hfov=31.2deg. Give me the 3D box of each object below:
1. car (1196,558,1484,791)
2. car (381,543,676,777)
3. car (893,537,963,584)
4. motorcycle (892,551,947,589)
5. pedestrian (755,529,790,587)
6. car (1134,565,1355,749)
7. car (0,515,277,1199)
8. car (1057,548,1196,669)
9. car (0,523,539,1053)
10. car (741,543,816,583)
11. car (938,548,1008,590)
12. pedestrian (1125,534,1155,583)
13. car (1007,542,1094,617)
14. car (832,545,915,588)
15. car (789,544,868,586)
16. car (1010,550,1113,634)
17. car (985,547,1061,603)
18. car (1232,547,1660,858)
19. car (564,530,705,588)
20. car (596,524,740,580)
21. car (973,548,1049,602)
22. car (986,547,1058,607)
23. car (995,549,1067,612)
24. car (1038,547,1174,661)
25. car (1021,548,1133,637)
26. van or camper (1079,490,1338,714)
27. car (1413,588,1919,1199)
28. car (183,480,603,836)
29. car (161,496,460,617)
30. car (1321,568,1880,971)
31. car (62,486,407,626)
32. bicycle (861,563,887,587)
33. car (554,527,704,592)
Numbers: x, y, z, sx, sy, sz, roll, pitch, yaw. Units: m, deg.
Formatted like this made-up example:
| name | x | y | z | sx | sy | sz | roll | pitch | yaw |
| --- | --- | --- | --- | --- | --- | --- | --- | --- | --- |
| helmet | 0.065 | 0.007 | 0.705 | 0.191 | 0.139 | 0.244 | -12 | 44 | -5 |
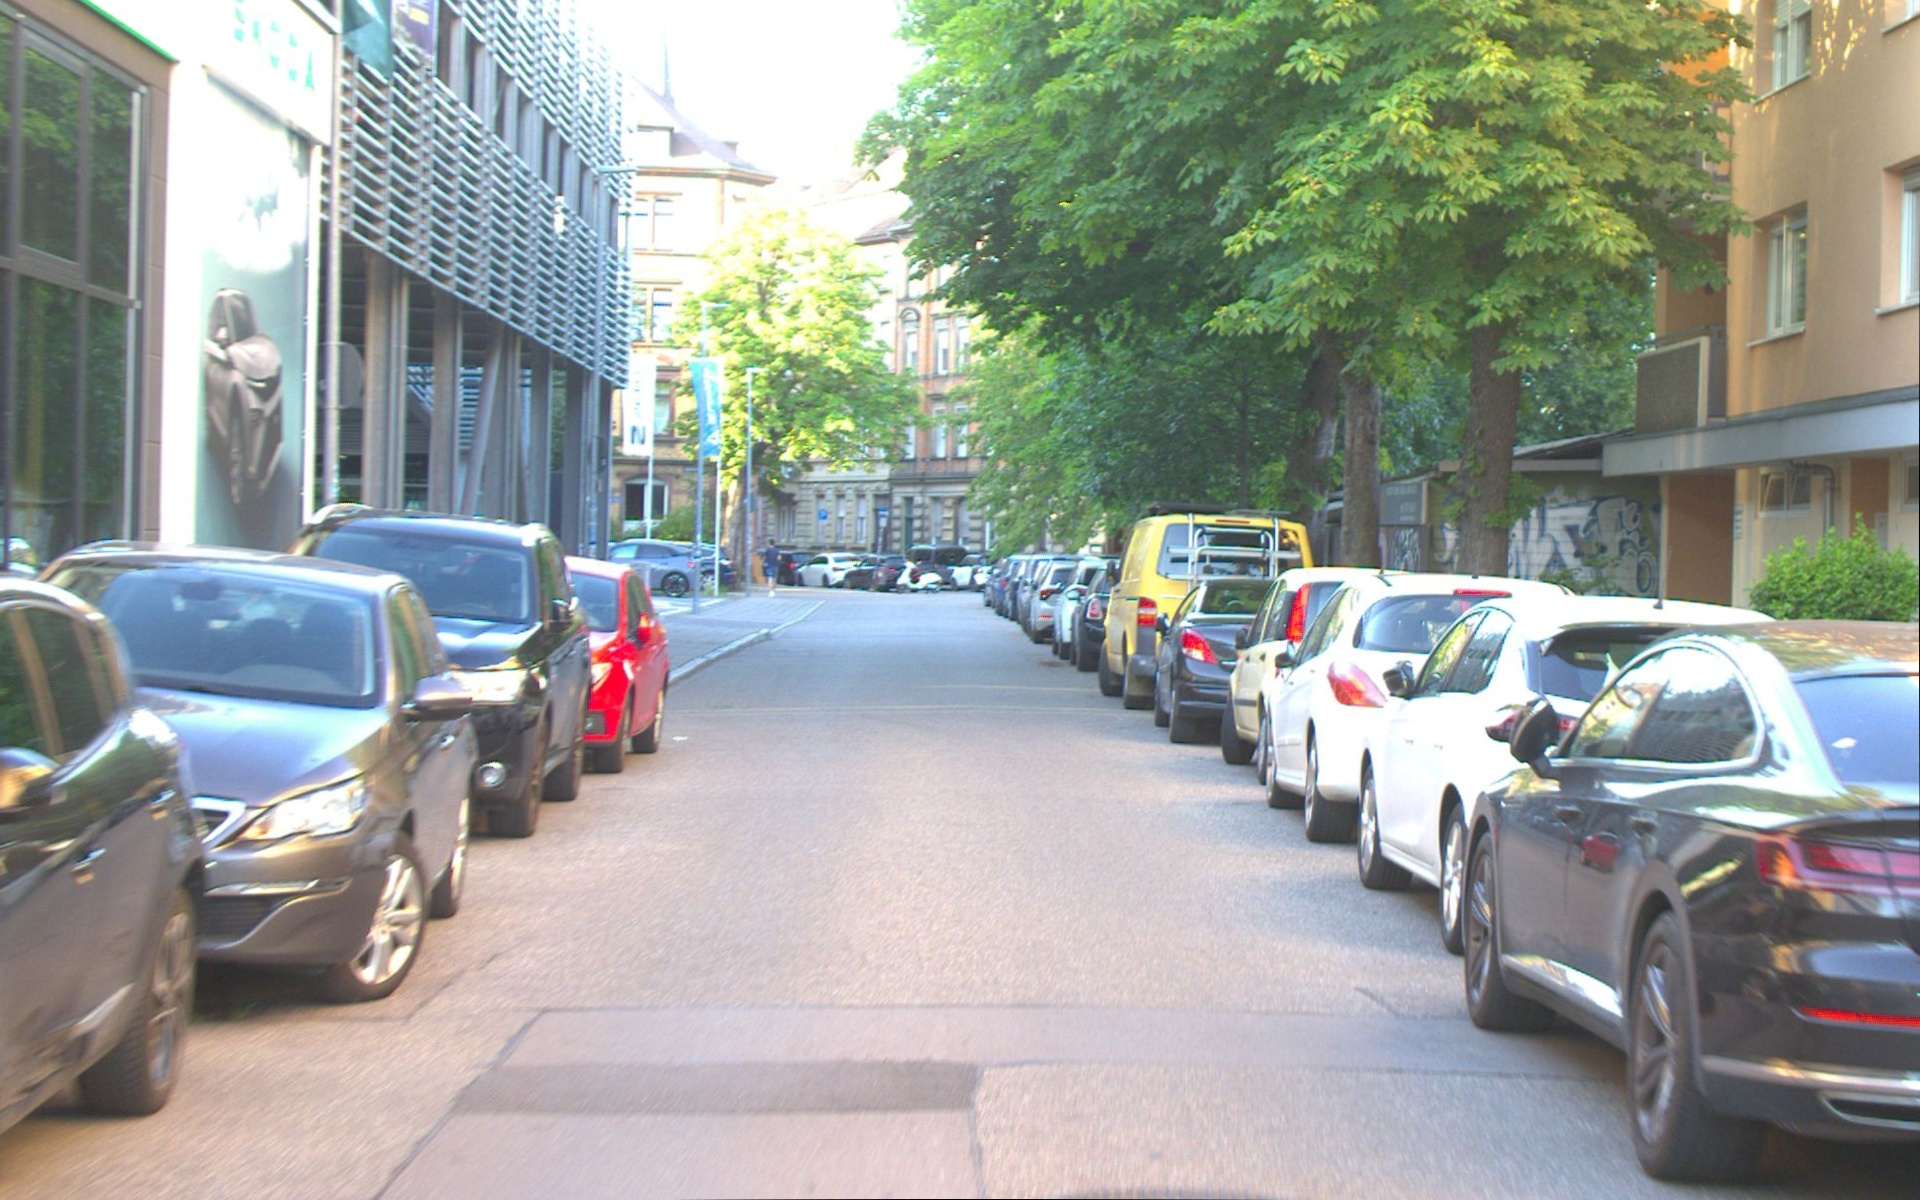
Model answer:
| name | x | y | z | sx | sy | sz | roll | pitch | yaw |
| --- | --- | --- | --- | --- | --- | --- | --- | --- | --- |
| car | 2.686 | 0.484 | 24.969 | 1.609 | 1.505 | 3.478 | 1 | 1 | -1 |
| car | -3.036 | 0.369 | 24.813 | 1.697 | 1.501 | 3.791 | 1 | 1 | -1 |
| car | -1.303 | -1.588 | 138.350 | 1.674 | 1.776 | 3.016 | 1 | 1 | -25 |
| motorcycle | -1.497 | -1.116 | 126.577 | 1.931 | 1.336 | 0.577 | 1 | 2 | -11 |
| pedestrian | -5.883 | -1.314 | 107.825 | 0.735 | 1.798 | 1.122 | 1 | 2 | -21 |
| car | 2.422 | 0.445 | 30.035 | 1.606 | 1.377 | 4.000 | 1 | 2 | 1 |
| car | -2.810 | 0.494 | 7.761 | 1.728 | 1.398 | 4.007 | 7 | 1 | -2 |
| car | 2.179 | 0.084 | 45.721 | 1.563 | 1.445 | 3.454 | 1 | 2 | -1 |
| car | -2.853 | 0.545 | 12.936 | 1.937 | 1.591 | 4.205 | 1 | 2 | 1 |
| car | -7.321 | -1.498 | 138.660 | 1.654 | 1.426 | 3.897 | 1 | 2 | -25 |
| car | 0.492 | -1.239 | 134.908 | 1.674 | 1.520 | 2.768 | 2 | 1 | -25 |
| pedestrian | 6.755 | -1.560 | 129.290 | 0.840 | 1.798 | 0.776 | 1 | 2 | -21 |
| car | 2.002 | -0.475 | 77.201 | 1.759 | 1.598 | 3.874 | 1 | 1 | -1 |
| car | -3.270 | -1.272 | 129.740 | 1.654 | 1.426 | 3.991 | 1 | 2 | -25 |
| car | -5.147 | -1.384 | 134.173 | 1.654 | 1.426 | 4.168 | 1 | 2 | -23 |
| car | 1.920 | -0.180 | 66.348 | 1.759 | 1.449 | 4.393 | 1 | 2 | -1 |
| car | 1.701 | -0.696 | 93.831 | 1.695 | 1.472 | 3.560 | 1 | 1 | -4 |
| car | 2.706 | 0.505 | 20.060 | 1.791 | 1.557 | 4.194 | 1 | 1 | -1 |
| car | -9.714 | -1.226 | 102.822 | 4.066 | 1.612 | 1.765 | 1 | 2 | -2 |
| car | -10.077 | -1.655 | 118.394 | 4.828 | 1.726 | 1.921 | 2 | 2 | -7 |
| car | 1.429 | -0.740 | 98.236 | 1.695 | 1.471 | 4.213 | 1 | 1 | -5 |
| car | 1.594 | -0.614 | 89.308 | 1.695 | 1.471 | 4.117 | 1 | 1 | -1 |
| car | 1.720 | -0.489 | 84.648 | 1.596 | 1.471 | 3.774 | 1 | 1 | -1 |
| car | 2.127 | 0.025 | 51.003 | 1.722 | 1.514 | 4.026 | 1 | 2 | -1 |
| car | 2.057 | -0.160 | 61.357 | 1.759 | 1.437 | 4.006 | 1 | 2 | -1 |
| van or camper | 2.462 | -0.057 | 35.354 | 2.064 | 2.088 | 5.091 | 1 | 2 | -2 |
| car | 2.547 | 0.738 | 9.705 | 1.809 | 1.412 | 4.626 | 1 | 1 | -1 |
| car | -3.067 | 0.240 | 19.417 | 1.697 | 1.750 | 4.404 | 1 | 1 | -1 |
| car | -9.694 | -0.669 | 51.510 | 4.103 | 1.678 | 1.860 | 1 | 2 | 0 |
| car | 2.667 | 0.632 | 15.202 | 1.609 | 1.456 | 4.054 | 1 | 1 | -1 |
| car | -9.320 | -0.582 | 44.367 | 4.025 | 1.678 | 1.860 | 1 | 2 | 0 |
| bicycle | -3.109 | -0.917 | 124.404 | 0.425 | 0.819 | 1.460 | 2 | 2 | 21 |
| car | -9.553 | -1.187 | 99.449 | 4.129 | 1.612 | 1.913 | 3 | 2 | -3 |
